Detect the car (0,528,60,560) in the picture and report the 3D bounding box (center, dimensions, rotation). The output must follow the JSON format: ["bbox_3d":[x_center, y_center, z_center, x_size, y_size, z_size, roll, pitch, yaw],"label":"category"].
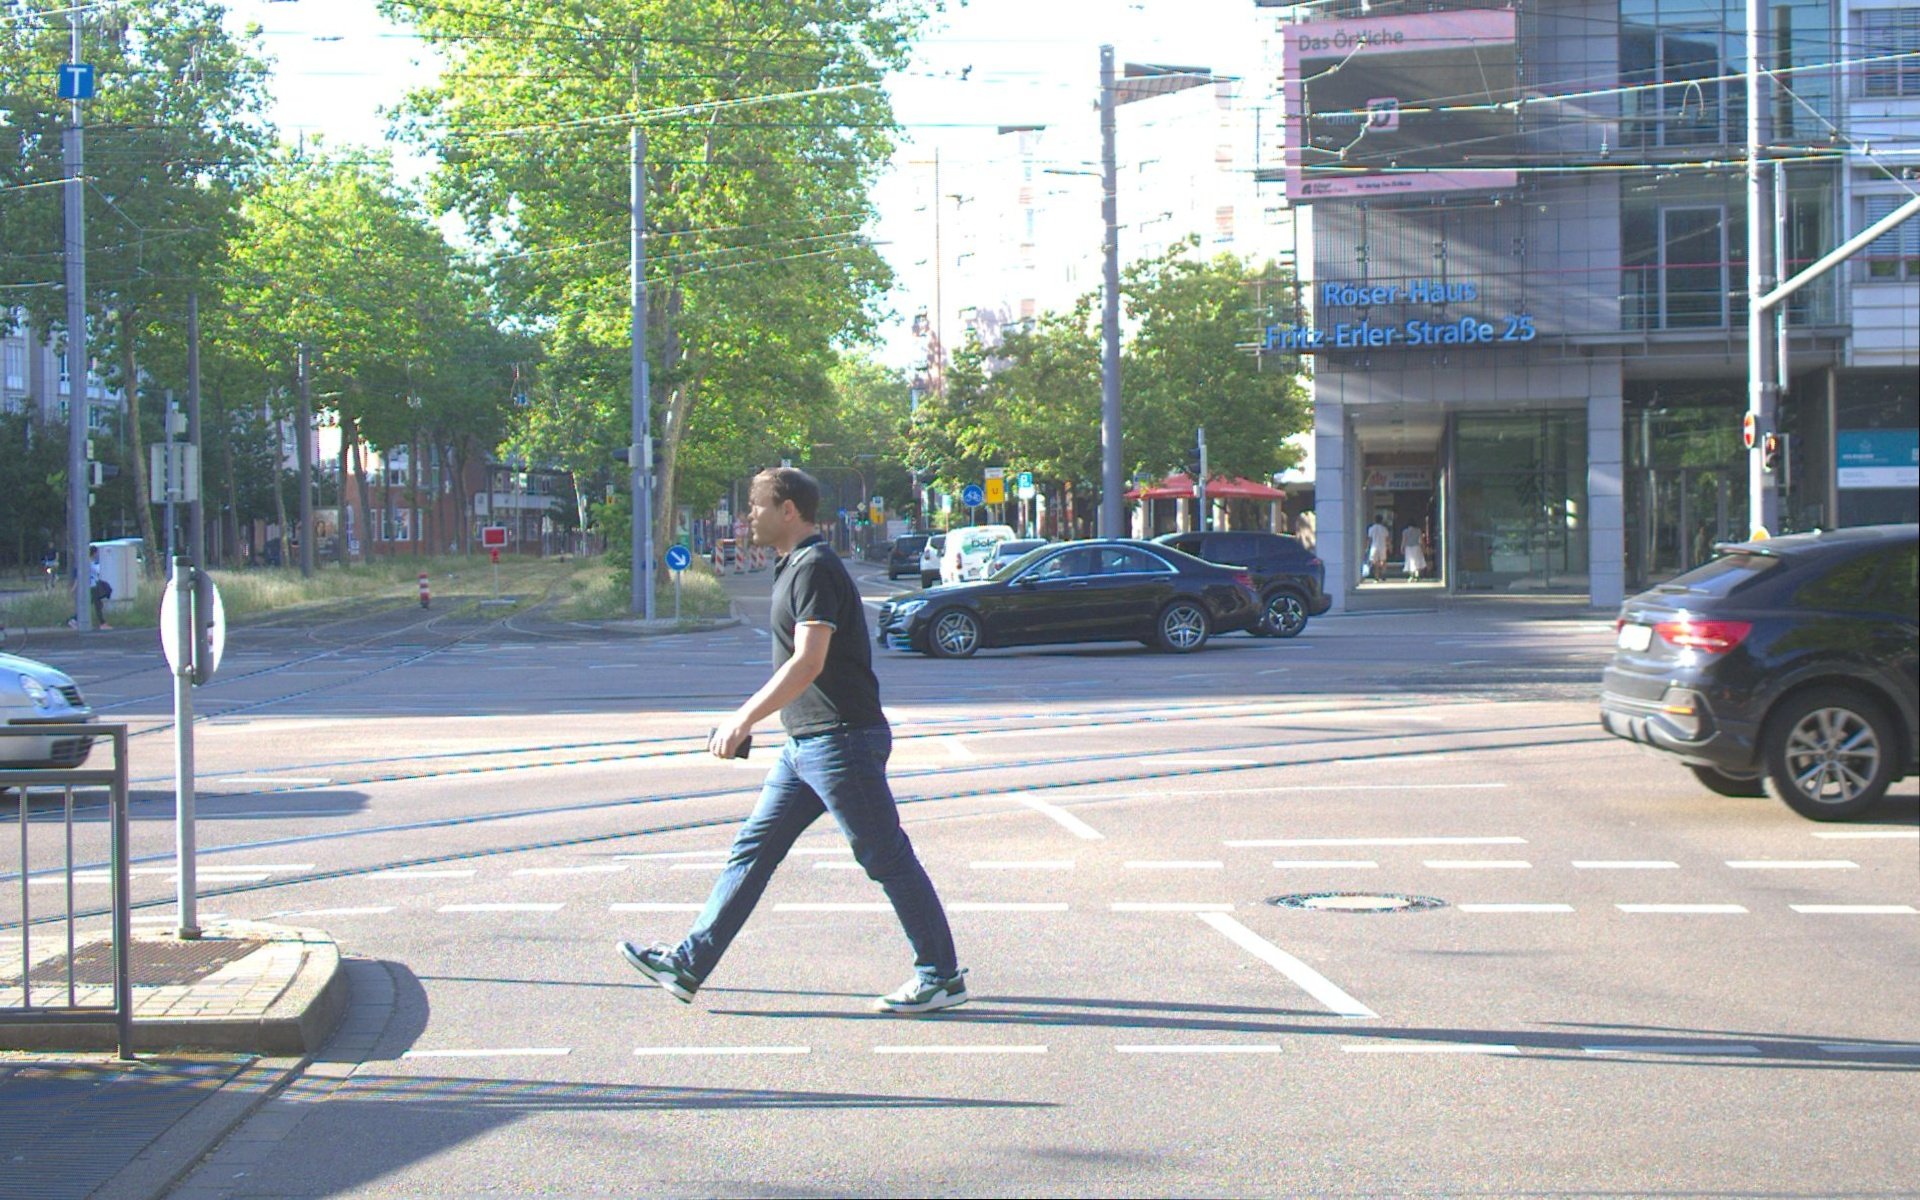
[{"bbox_3d":[-47.055,-2.817,171.322,3.987,1.547,1.607,1,1,-31],"label":"car"}]

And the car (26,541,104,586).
[{"bbox_3d":[-30.500,-1.259,117.270,1.993,1.503,4.001,-1,1,-6],"label":"car"}]

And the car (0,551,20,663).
[{"bbox_3d":[-14.160,0.117,43.387,4.239,1.387,1.796,-1,1,-10],"label":"car"}]

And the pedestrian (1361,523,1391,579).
[{"bbox_3d":[10.855,-1.281,89.642,0.739,1.460,0.536,-1,1,9],"label":"pedestrian"}]

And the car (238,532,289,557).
[{"bbox_3d":[-44.060,-3.503,217.502,1.994,1.503,3.999,-1,1,7],"label":"car"}]

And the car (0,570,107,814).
[{"bbox_3d":[-7.396,0.558,21.174,3.908,1.429,1.825,-1,1,-5],"label":"car"}]

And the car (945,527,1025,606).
[{"bbox_3d":[0.634,-0.899,89.704,1.993,1.985,4.000,-1,1,-1],"label":"car"}]

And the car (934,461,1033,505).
[{"bbox_3d":[0.972,-4.800,141.206,3.764,1.744,1.780,1,0,14],"label":"car"}]

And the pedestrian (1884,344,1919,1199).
[{"bbox_3d":[2.242,0.493,5.850,1.073,1.865,0.739,1,0,-7],"label":"pedestrian"}]

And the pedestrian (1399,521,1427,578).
[{"bbox_3d":[11.777,-1.315,89.343,0.706,1.460,0.384,-1,1,9],"label":"pedestrian"}]

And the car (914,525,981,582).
[{"bbox_3d":[-0.391,-1.430,105.015,1.993,1.656,4.000,-1,1,-1],"label":"car"}]

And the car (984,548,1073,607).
[{"bbox_3d":[1.623,-0.561,82.869,1.993,1.327,4.000,-1,1,-1],"label":"car"}]

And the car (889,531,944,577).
[{"bbox_3d":[-1.601,-1.702,126.732,1.993,1.656,4.000,-1,1,-1],"label":"car"}]

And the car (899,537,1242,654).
[{"bbox_3d":[1.432,-0.080,45.472,4.239,1.429,1.796,-1,1,-10],"label":"car"}]

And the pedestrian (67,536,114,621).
[{"bbox_3d":[-15.837,-0.391,62.611,0.754,1.525,0.508,0,1,-7],"label":"pedestrian"}]

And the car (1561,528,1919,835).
[{"bbox_3d":[5.720,0.389,18.821,4.481,1.577,1.825,-1,1,-3],"label":"car"}]

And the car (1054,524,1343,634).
[{"bbox_3d":[3.448,-0.318,50.077,3.859,1.502,1.796,-1,1,-10],"label":"car"}]

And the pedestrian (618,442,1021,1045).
[{"bbox_3d":[-0.474,0.426,10.954,1.208,1.816,1.042,-1,1,-6],"label":"pedestrian"}]
